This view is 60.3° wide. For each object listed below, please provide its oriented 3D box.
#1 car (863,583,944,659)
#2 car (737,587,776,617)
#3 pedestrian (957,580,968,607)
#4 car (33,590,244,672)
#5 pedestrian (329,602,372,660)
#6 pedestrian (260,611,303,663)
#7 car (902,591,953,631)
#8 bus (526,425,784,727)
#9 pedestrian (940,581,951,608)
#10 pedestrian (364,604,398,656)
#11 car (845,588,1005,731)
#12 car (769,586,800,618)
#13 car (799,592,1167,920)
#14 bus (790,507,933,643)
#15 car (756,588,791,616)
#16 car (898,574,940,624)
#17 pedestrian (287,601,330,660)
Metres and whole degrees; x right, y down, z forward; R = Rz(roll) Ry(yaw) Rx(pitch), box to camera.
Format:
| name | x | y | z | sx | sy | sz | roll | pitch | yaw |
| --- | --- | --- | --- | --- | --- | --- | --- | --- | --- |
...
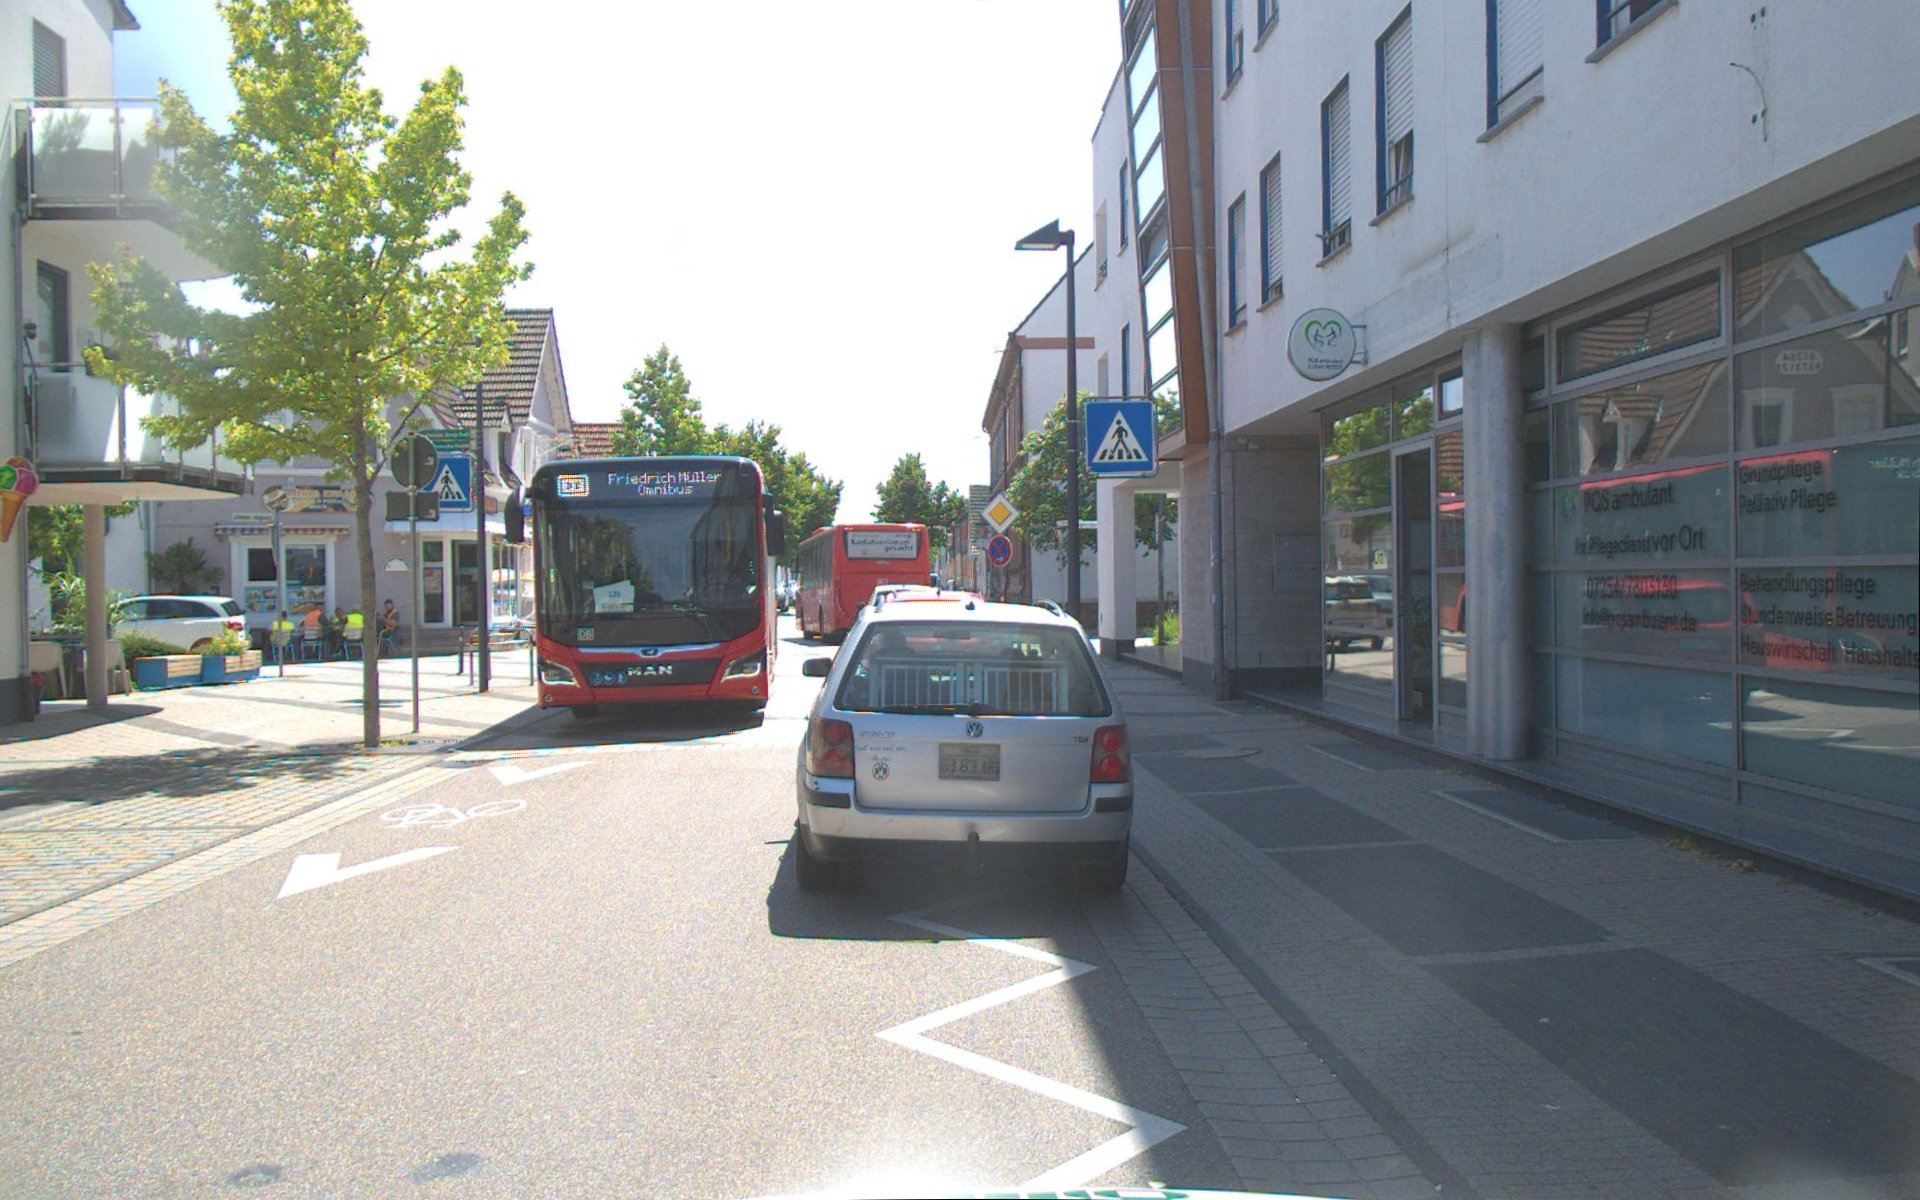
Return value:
| name | x | y | z | sx | sy | sz | roll | pitch | yaw |
| --- | --- | --- | --- | --- | --- | --- | --- | --- | --- |
| car | -1.153 | 0.393 | 34.028 | 1.561 | 1.455 | 3.678 | 0 | 0 | -2 |
| car | -11.007 | 0.098 | 89.546 | 1.775 | 1.586 | 3.998 | -1 | 0 | -3 |
| pedestrian | 0.174 | -0.405 | 102.412 | 0.594 | 1.696 | 0.789 | -1 | 0 | -4 |
| car | -17.564 | 0.642 | 35.534 | 3.857 | 1.572 | 1.510 | -1 | 2 | -20 |
| pedestrian | -14.020 | 0.715 | 38.054 | 0.776 | 1.311 | 0.632 | 1 | 0 | 44 |
| pedestrian | -15.254 | 0.830 | 37.181 | 0.776 | 1.135 | 0.632 | 1 | 0 | 44 |
| car | -1.168 | 0.361 | 58.645 | 1.685 | 1.332 | 3.623 | -1 | 0 | -3 |
| bus | -4.186 | -0.318 | 26.524 | 2.617 | 3.178 | 17.784 | -1 | 0 | -6 |
| pedestrian | -0.891 | -0.338 | 101.848 | 0.594 | 1.696 | 0.789 | -1 | 0 | -4 |
| pedestrian | -13.686 | 0.709 | 39.126 | 0.610 | 1.199 | 0.695 | -1 | 0 | -7 |
| car | -0.450 | 0.603 | 19.079 | 1.643 | 1.455 | 3.677 | -1 | 0 | -3 |
| car | -11.477 | 0.099 | 108.130 | 1.775 | 2.030 | 3.998 | -1 | 0 | -3 |
| car | 0.026 | 0.700 | 9.321 | 1.643 | 1.455 | 3.677 | 1 | 0 | -3 |
| bus | -3.071 | -0.643 | 47.303 | 2.690 | 3.356 | 12.675 | 0 | 0 | -10 |
| car | -10.804 | 0.093 | 96.008 | 1.775 | 1.586 | 3.998 | -1 | 0 | -3 |
| car | -1.861 | -0.061 | 73.906 | 1.752 | 2.118 | 3.623 | -1 | 0 | -3 |
| pedestrian | -15.039 | 0.699 | 38.157 | 0.776 | 1.311 | 0.632 | 1 | 0 | 44 |
